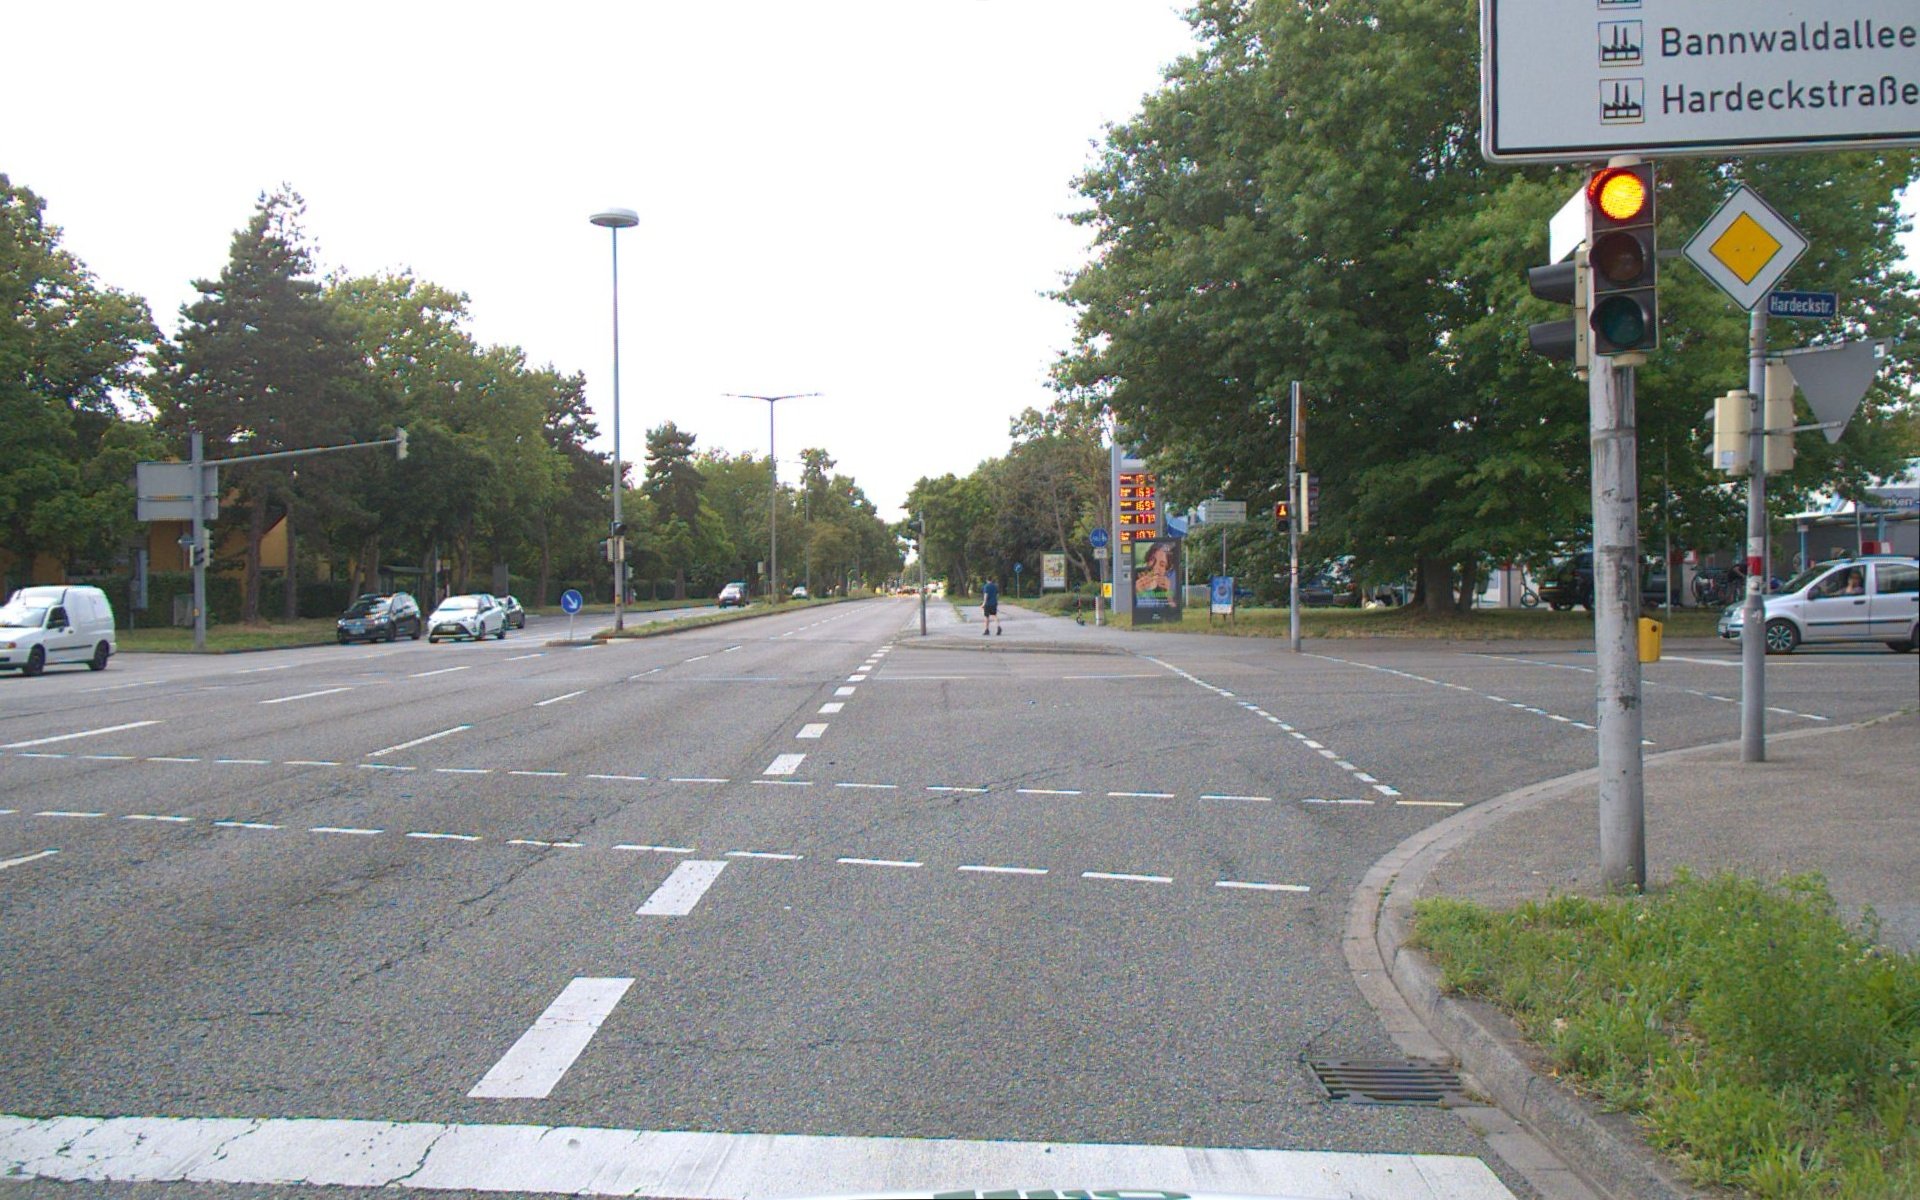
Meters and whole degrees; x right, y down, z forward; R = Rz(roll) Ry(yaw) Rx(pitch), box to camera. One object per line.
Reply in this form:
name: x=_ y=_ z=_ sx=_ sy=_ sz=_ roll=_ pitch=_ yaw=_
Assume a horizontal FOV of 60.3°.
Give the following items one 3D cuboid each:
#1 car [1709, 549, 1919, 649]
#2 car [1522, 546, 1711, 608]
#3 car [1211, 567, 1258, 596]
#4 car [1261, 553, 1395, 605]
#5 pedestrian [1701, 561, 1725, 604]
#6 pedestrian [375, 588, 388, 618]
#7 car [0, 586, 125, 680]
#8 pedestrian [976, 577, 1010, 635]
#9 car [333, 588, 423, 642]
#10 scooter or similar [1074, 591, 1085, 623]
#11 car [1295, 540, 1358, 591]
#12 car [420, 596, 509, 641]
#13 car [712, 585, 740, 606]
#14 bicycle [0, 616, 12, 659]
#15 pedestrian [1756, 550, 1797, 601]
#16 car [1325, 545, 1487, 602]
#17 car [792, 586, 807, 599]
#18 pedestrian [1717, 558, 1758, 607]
car: x=14.275 y=-0.021 z=26.912 sx=3.520 sy=1.543 sz=1.560 roll=-1 pitch=0 yaw=12
car: x=18.323 y=-0.641 z=46.258 sx=4.469 sy=1.624 sz=2.148 roll=-1 pitch=0 yaw=-12
car: x=14.603 y=-0.973 z=88.087 sx=1.715 sy=1.479 sz=3.739 roll=-1 pitch=0 yaw=-2
car: x=15.416 y=-0.888 z=69.394 sx=5.079 sy=2.039 sz=2.152 roll=-1 pitch=0 yaw=-5
pedestrian: x=27.772 y=-0.653 z=61.011 sx=0.640 sy=1.571 sz=0.624 roll=-1 pitch=0 yaw=6
pedestrian: x=-29.403 y=0.150 z=84.112 sx=0.560 sy=1.522 sz=0.419 roll=1 pitch=-1 yaw=-16
car: x=-19.162 y=0.652 z=34.258 sx=1.637 sy=1.825 sz=4.253 roll=0 pitch=0 yaw=-1
pedestrian: x=0.902 y=0.158 z=45.505 sx=0.713 sy=1.558 sz=0.756 roll=-1 pitch=0 yaw=-17
car: x=-20.045 y=0.518 z=57.173 sx=1.637 sy=1.772 sz=4.309 roll=0 pitch=0 yaw=-1
scooter or similar: x=3.752 y=0.210 z=51.960 sx=0.216 sy=0.996 sz=1.272 roll=-1 pitch=0 yaw=-1
car: x=18.829 y=-1.732 z=85.233 sx=1.715 sy=2.496 sz=5.747 roll=-1 pitch=0 yaw=-2
car: x=-15.855 y=0.584 z=53.089 sx=1.717 sy=1.331 sz=3.693 roll=-2 pitch=0 yaw=-1
car: x=-17.734 y=-0.363 z=125.666 sx=1.736 sy=1.490 sz=4.453 roll=-1 pitch=0 yaw=-4
bicycle: x=-26.443 y=1.037 z=44.464 sx=0.740 sy=1.138 sz=2.113 roll=-1 pitch=0 yaw=-3
pedestrian: x=20.504 y=-0.613 z=41.523 sx=0.641 sy=1.277 sz=0.753 roll=1 pitch=-1 yaw=-45
car: x=15.742 y=-0.934 z=58.466 sx=5.089 sy=1.858 sz=2.148 roll=-1 pitch=0 yaw=-12
car: x=-22.100 y=-1.023 z=227.627 sx=1.822 sy=1.735 sz=4.454 roll=-1 pitch=0 yaw=-2
pedestrian: x=19.793 y=-0.448 z=42.107 sx=0.641 sy=1.210 sz=0.753 roll=1 pitch=-1 yaw=-45
